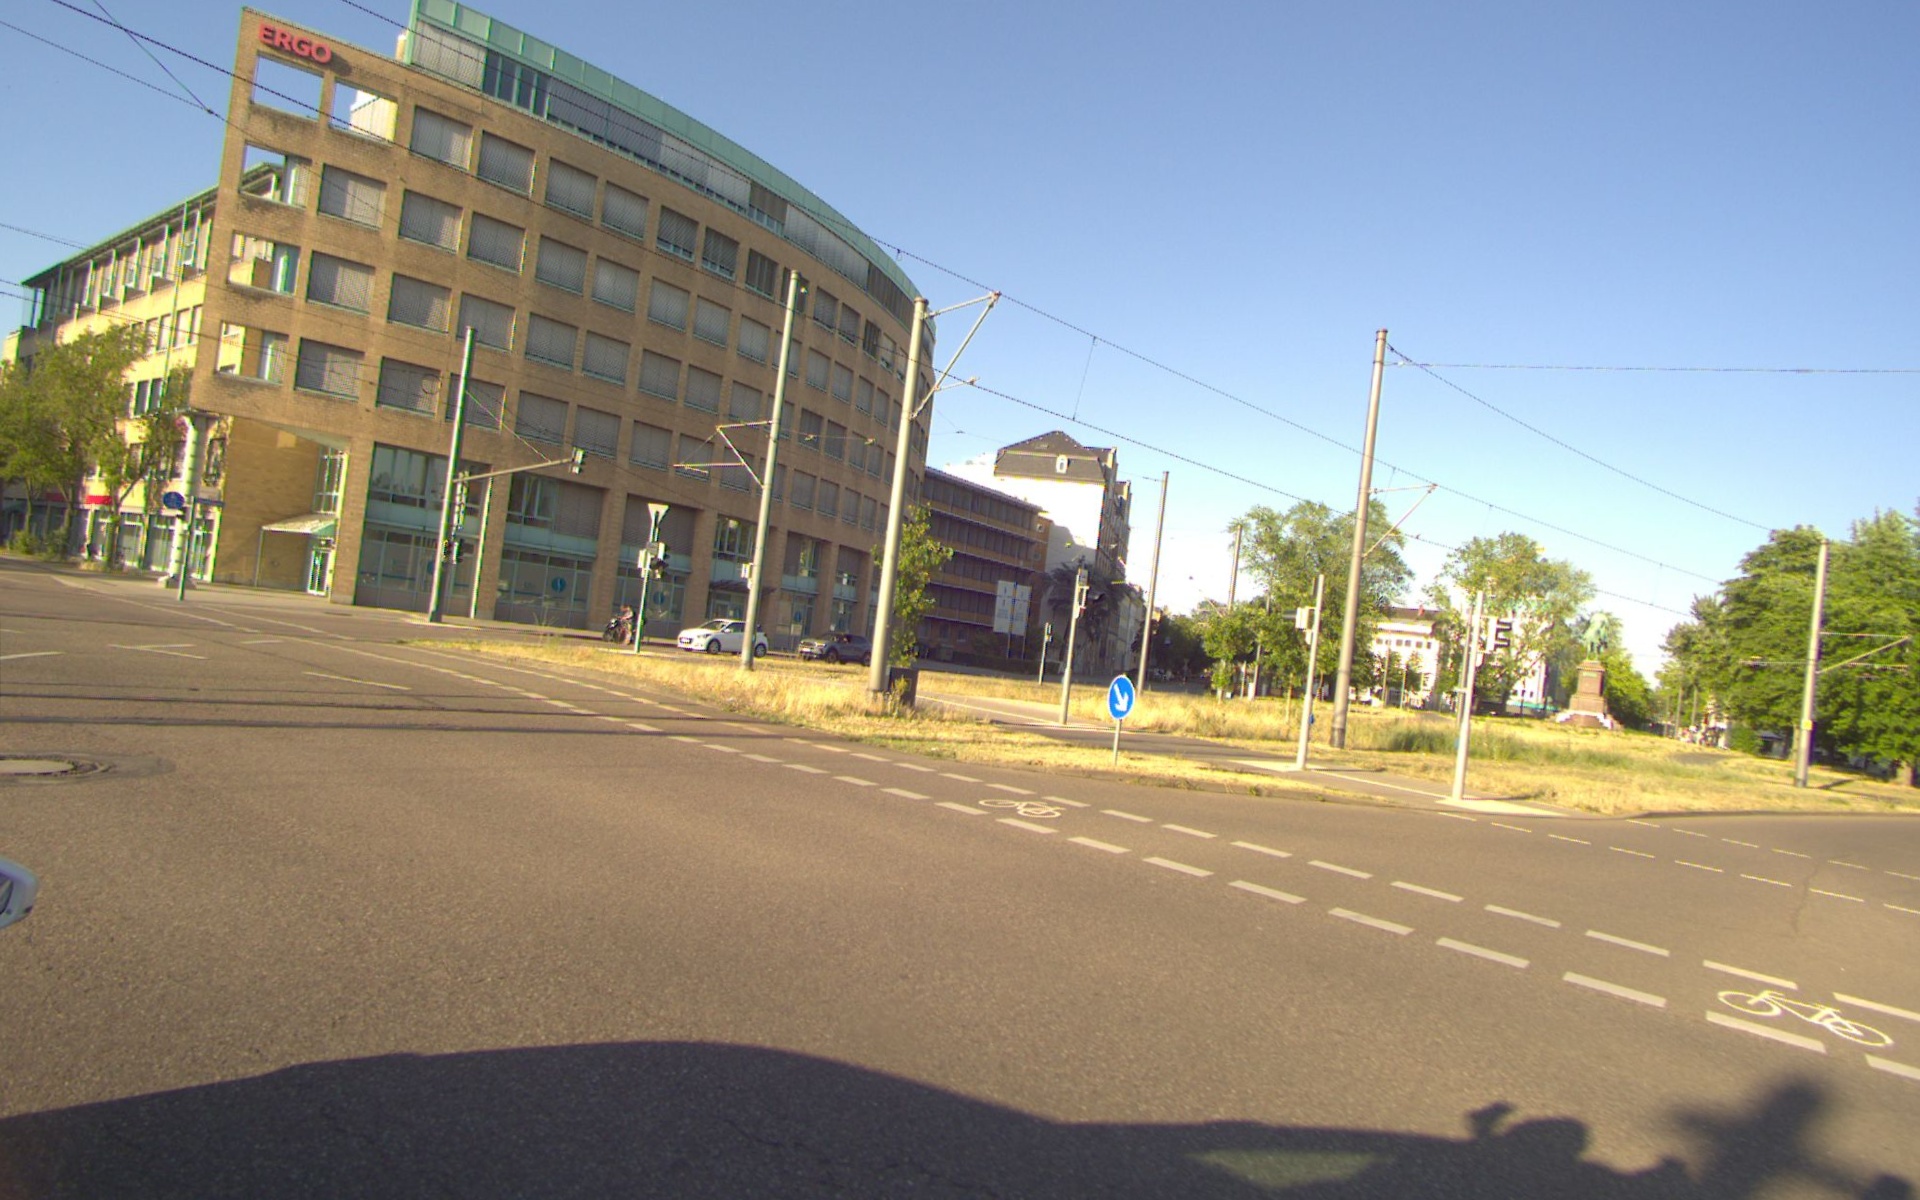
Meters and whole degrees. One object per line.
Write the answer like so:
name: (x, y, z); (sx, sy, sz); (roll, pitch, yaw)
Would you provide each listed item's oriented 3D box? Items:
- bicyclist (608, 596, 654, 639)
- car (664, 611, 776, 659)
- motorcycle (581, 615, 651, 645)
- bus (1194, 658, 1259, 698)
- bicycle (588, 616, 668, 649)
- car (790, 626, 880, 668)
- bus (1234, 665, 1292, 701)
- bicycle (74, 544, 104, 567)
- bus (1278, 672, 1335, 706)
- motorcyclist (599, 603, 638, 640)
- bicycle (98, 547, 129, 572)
bicyclist: (-13.531, 0.721, 41.421); (1.136, 1.590, 1.224); (6, -2, 36)
car: (-9.902, 1.471, 41.821); (1.964, 1.508, 4.167); (5, -3, 36)
motorcycle: (-14.892, 1.322, 43.651); (1.016, 0.974, 2.720); (5, -3, 37)
bus: (27.241, 8.000, 102.358); (2.373, 3.246, 11.093); (5, -3, 35)
bicycle: (-13.631, 1.347, 41.372); (1.136, 1.012, 2.963); (6, -3, 36)
car: (-5.844, 2.236, 47.360); (1.793, 1.508, 4.054); (5, -3, 37)
bus: (33.635, 9.214, 111.376); (2.317, 3.246, 11.050); (5, -3, 37)
bicycle: (-44.023, -2.248, 50.858); (2.050, 1.006, 0.646); (5, -2, 37)
bus: (41.256, 10.587, 119.435); (2.320, 3.246, 11.040); (5, -3, 40)
motorcyclist: (-14.838, 0.931, 43.670); (1.016, 1.452, 1.066); (5, -2, 37)
bicycle: (-40.481, -1.936, 48.106); (2.050, 1.006, 0.646); (5, -2, 37)
